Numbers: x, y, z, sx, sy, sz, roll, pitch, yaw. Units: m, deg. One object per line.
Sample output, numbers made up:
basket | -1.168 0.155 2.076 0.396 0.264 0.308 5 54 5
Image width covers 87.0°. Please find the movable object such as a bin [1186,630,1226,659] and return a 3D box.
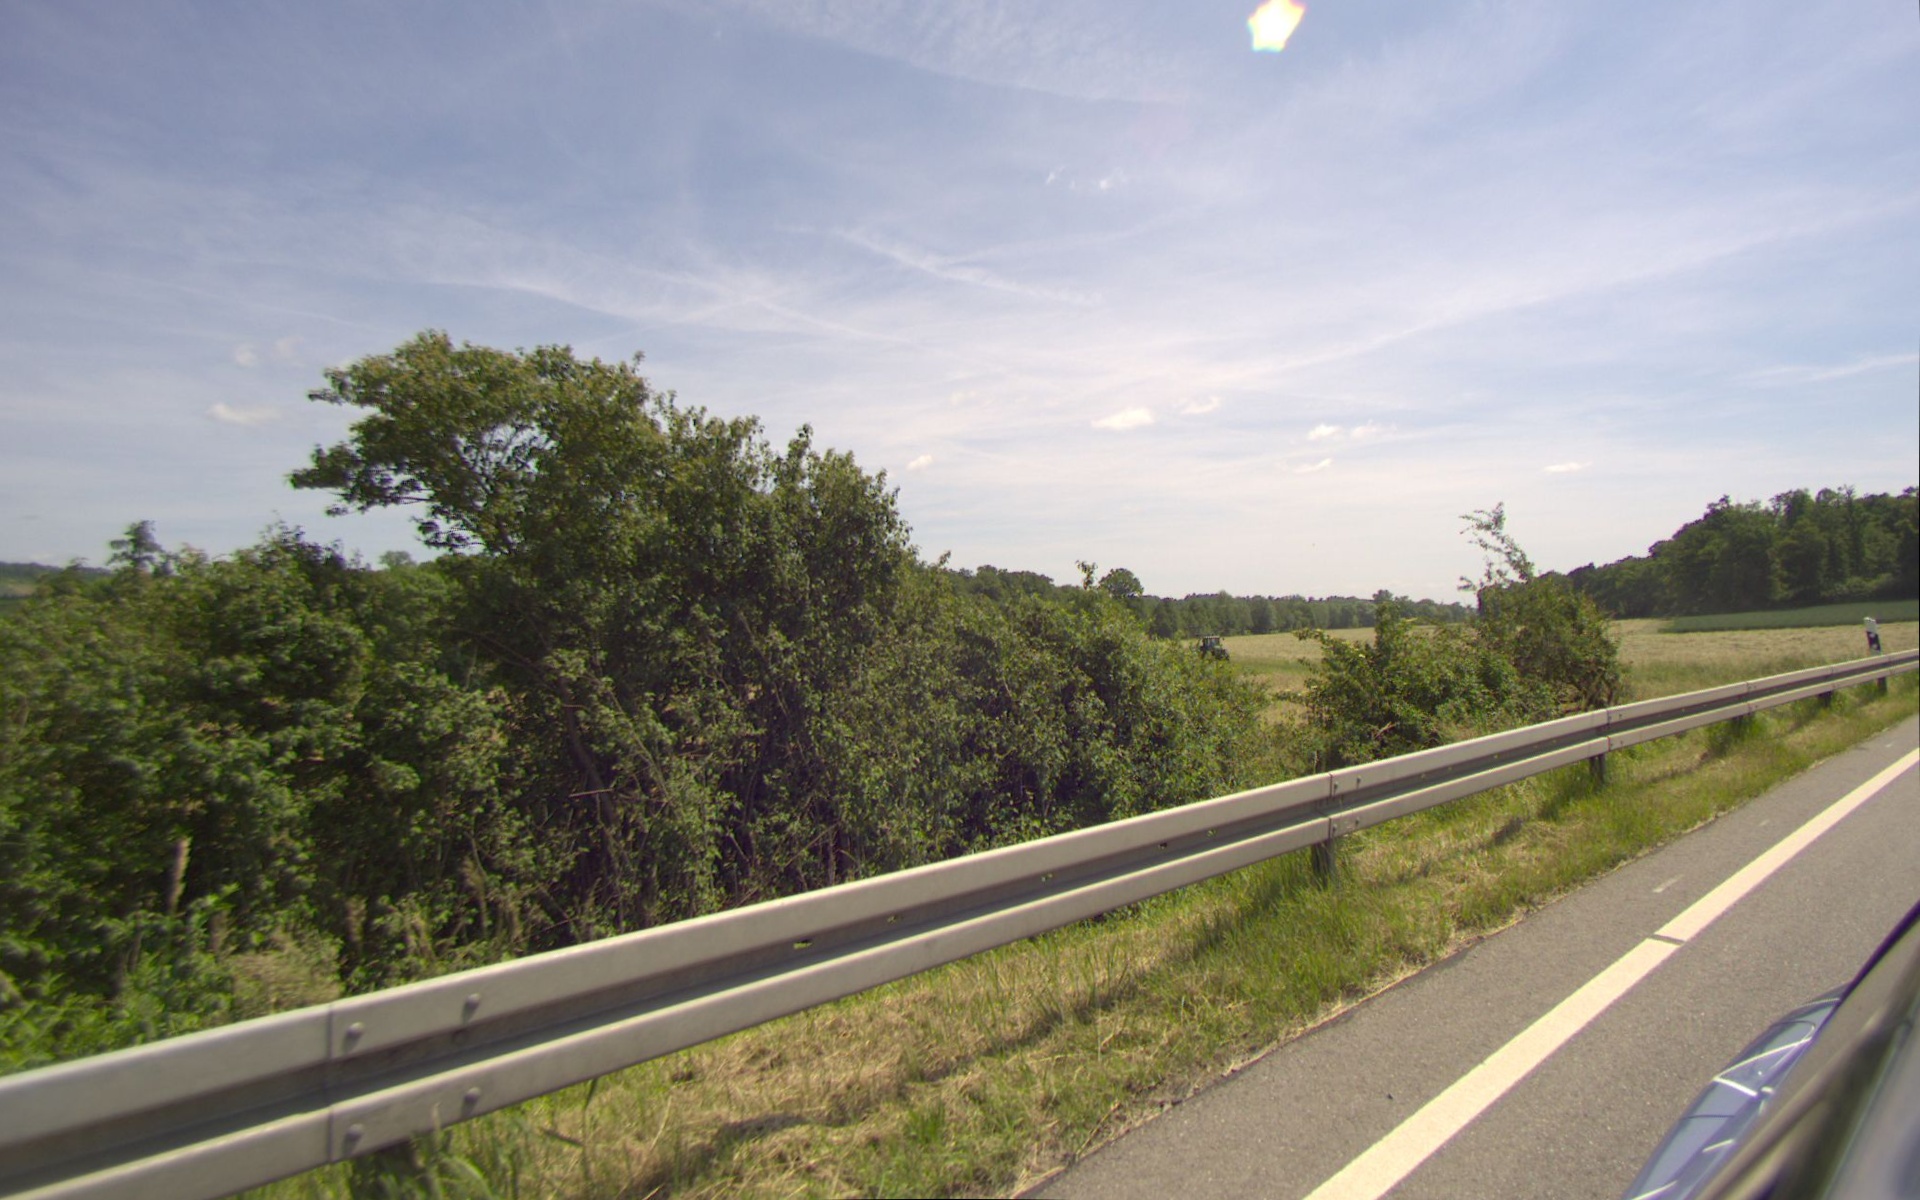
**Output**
movable object such as a bin | 25.981 4.651 107.021 1.914 2.908 6.231 -2 -2 -7
